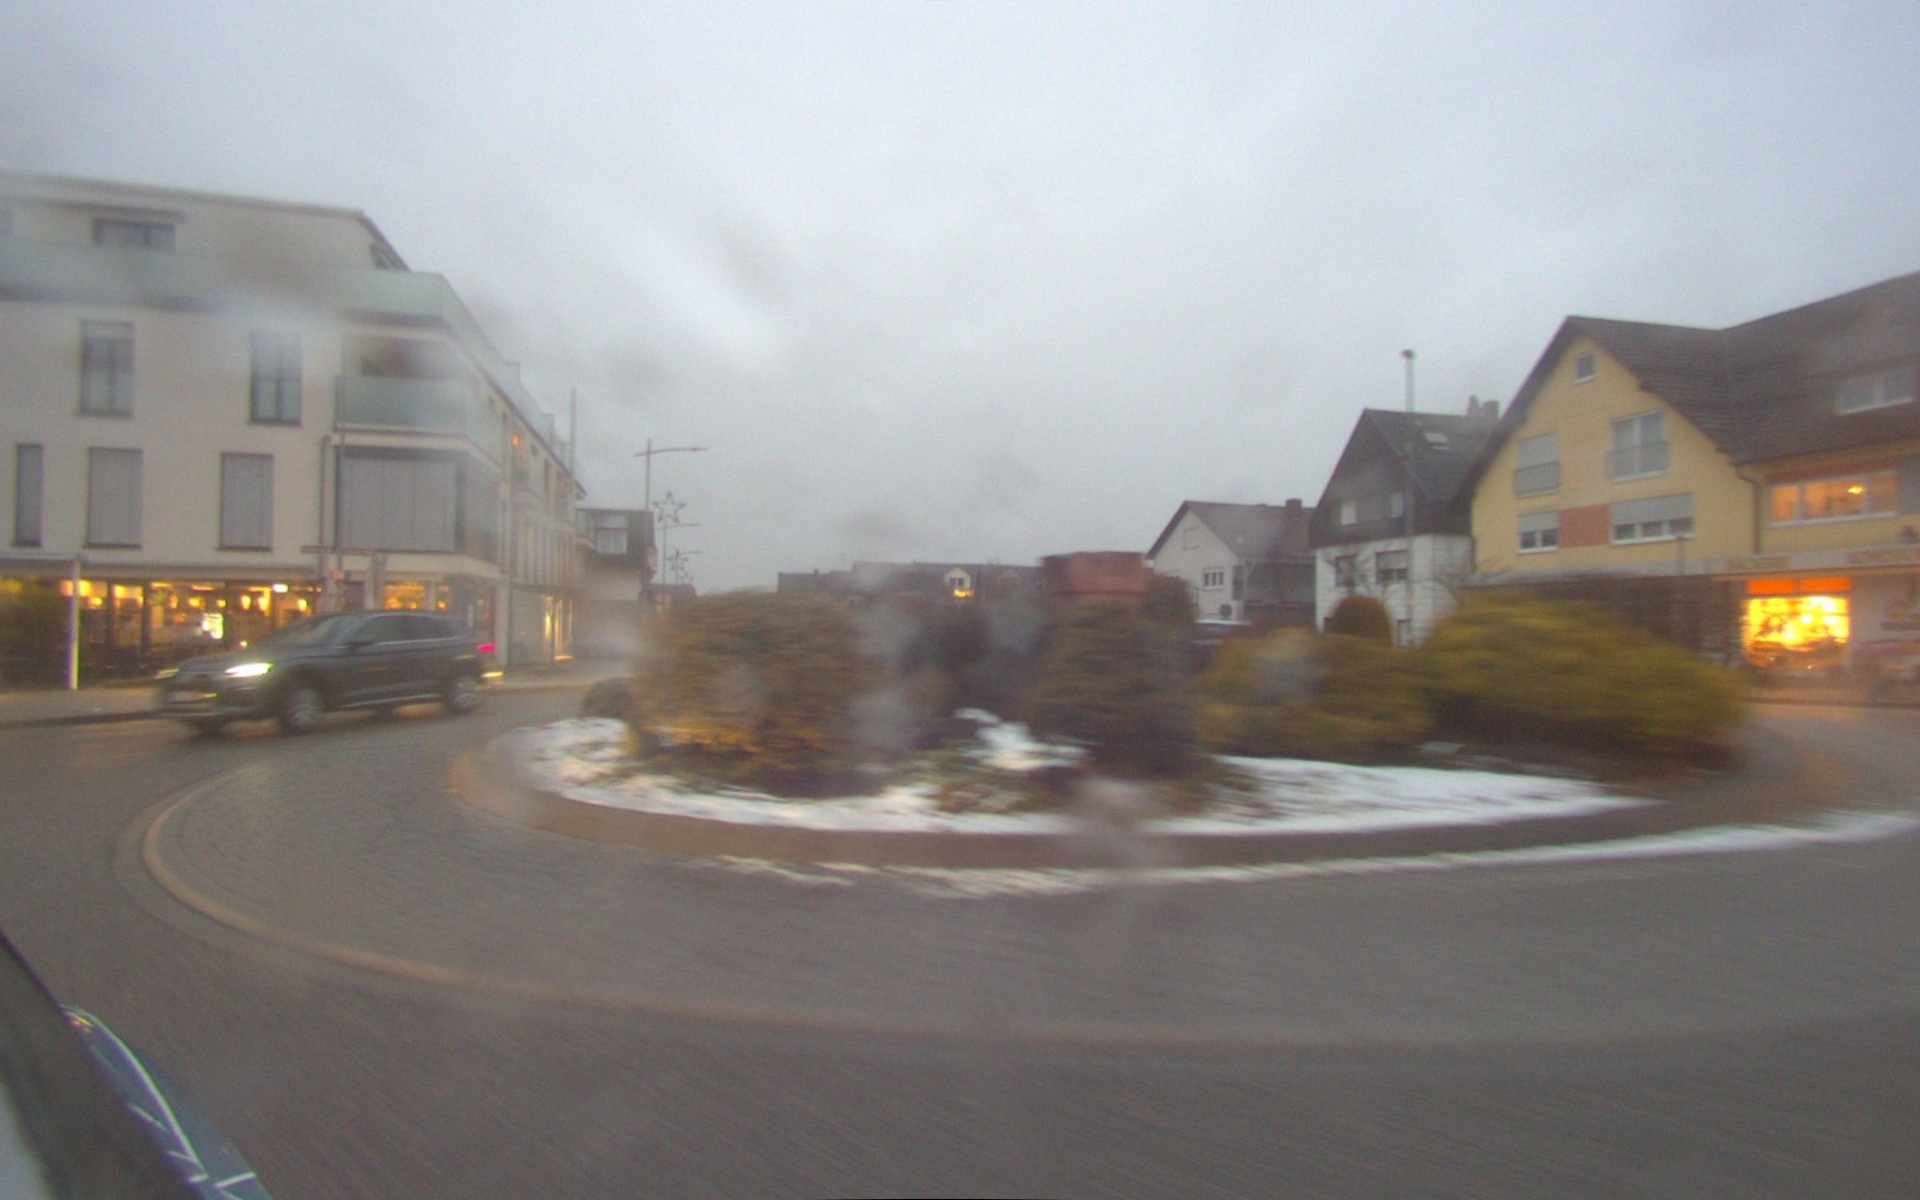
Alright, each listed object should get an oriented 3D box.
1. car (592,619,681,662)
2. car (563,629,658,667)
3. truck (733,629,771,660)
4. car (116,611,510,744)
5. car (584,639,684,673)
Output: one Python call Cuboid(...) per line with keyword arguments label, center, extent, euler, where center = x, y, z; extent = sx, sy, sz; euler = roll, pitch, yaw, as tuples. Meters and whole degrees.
Cuboid(label="car", center=(-17.806, 2.255, 55.929), extent=(4.478, 1.948, 1.980), euler=(6, -4, -15))
Cuboid(label="car", center=(-15.882, 2.163, 45.952), extent=(3.931, 1.515, 1.819), euler=(3, -2, -21))
Cuboid(label="truck", center=(-15.824, 3.357, 76.802), extent=(2.210, 2.247, 6.122), euler=(0, -2, -18))
Cuboid(label="car", center=(-9.062, 1.001, 14.720), extent=(1.939, 1.605, 4.601), euler=(-3, -2, 20))
Cuboid(label="car", center=(-15.577, 2.703, 48.515), extent=(4.445, 1.504, 1.981), euler=(2, -4, -17))
